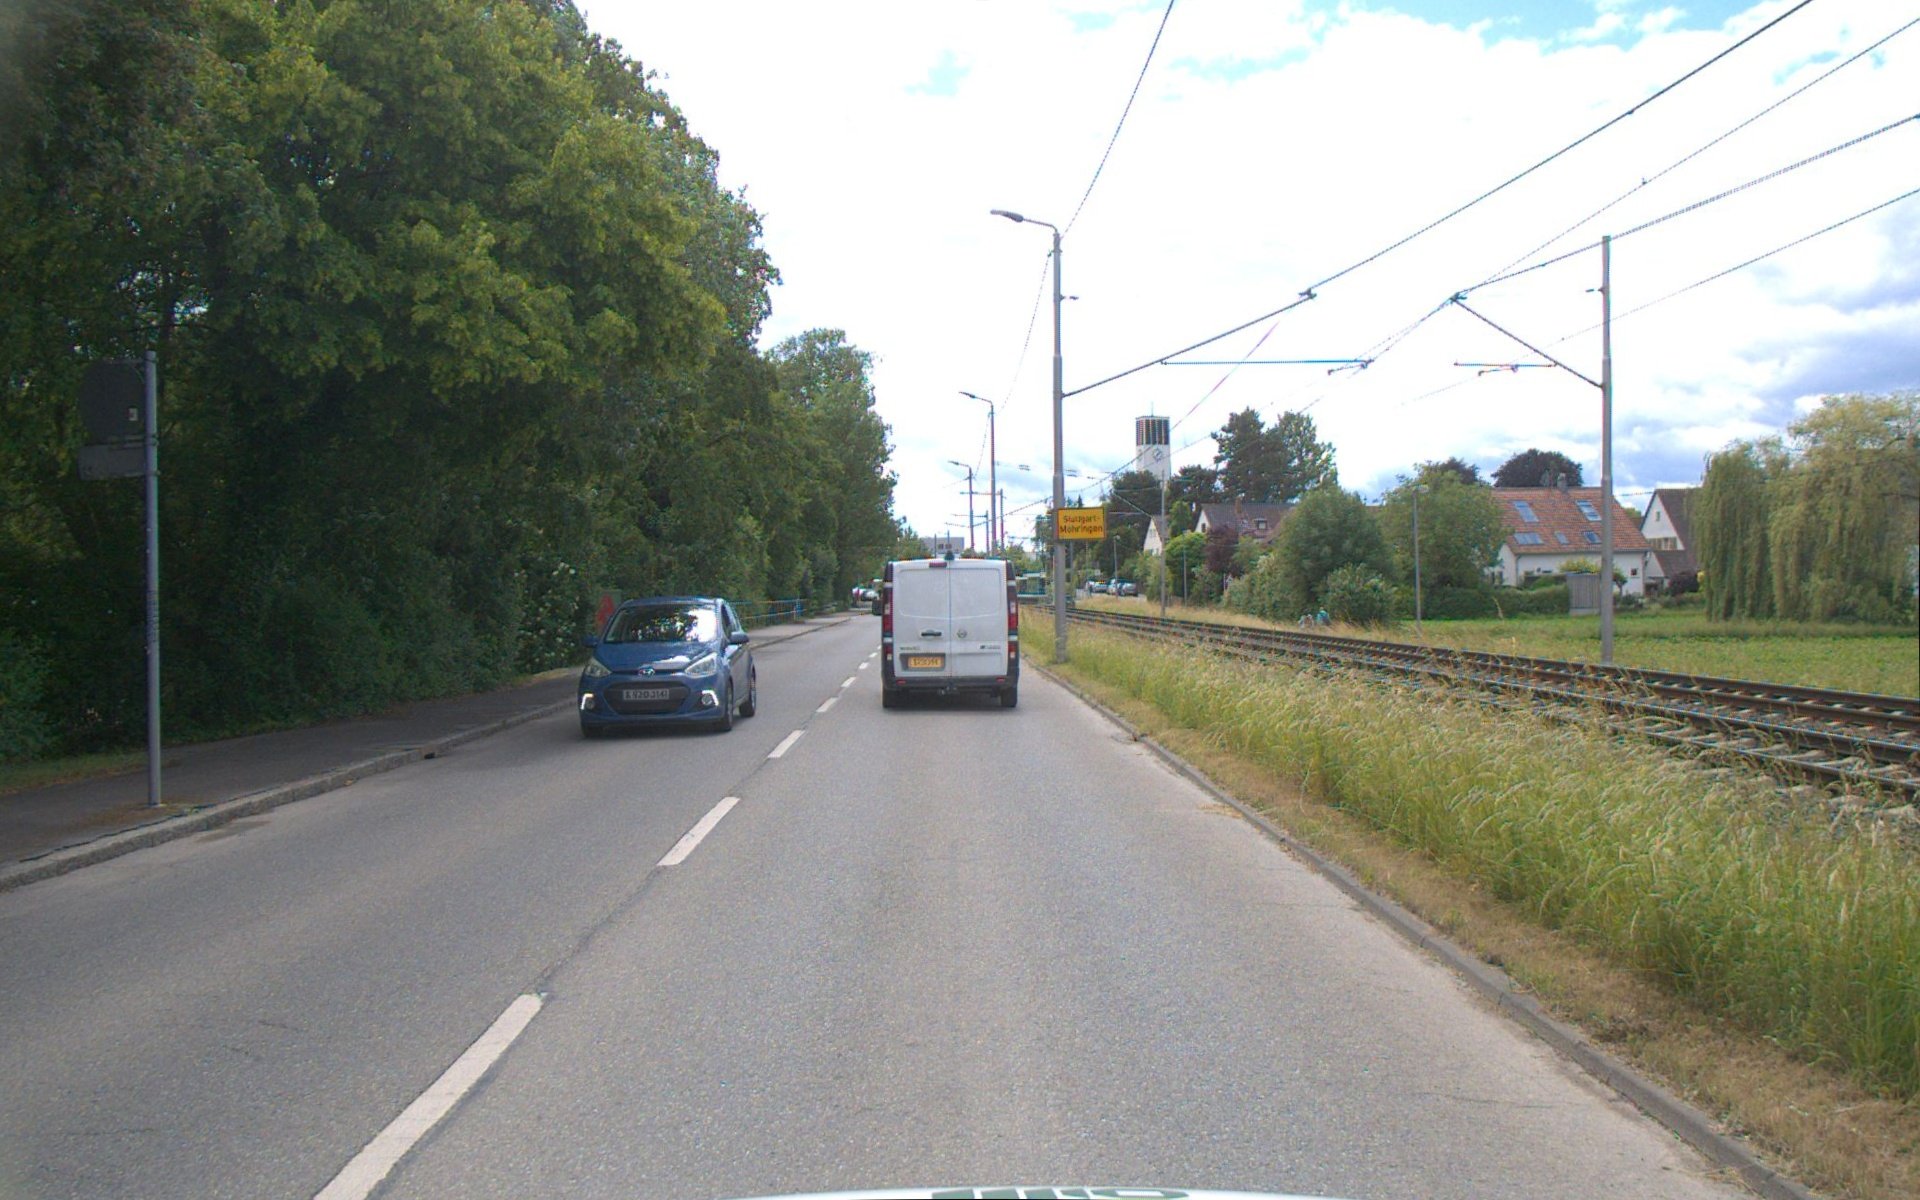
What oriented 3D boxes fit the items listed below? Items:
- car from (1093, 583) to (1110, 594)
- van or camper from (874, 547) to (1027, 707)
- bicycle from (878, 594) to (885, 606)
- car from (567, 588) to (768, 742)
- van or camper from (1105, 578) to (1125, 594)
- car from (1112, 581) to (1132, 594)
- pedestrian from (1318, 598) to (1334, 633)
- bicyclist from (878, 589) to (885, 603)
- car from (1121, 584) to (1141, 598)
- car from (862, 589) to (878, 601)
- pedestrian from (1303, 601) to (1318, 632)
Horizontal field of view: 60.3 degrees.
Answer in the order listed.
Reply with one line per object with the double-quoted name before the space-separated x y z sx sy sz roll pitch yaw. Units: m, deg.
"car" 19.054 -1.544 222.835 1.845 1.548 4.000 -1 0 0
"van or camper" -0.144 0.348 23.449 1.953 2.049 4.445 0 0 -1
"bicycle" -9.164 -0.007 193.901 0.740 1.248 2.308 -3 0 -1
"car" -3.328 0.691 19.504 1.672 1.555 3.824 -3 0 -1
"van or camper" 18.831 -1.704 201.125 1.866 1.857 5.047 -1 0 0
"car" 19.224 -1.512 196.410 1.845 1.548 4.000 -1 0 0
"pedestrian" 17.364 0.721 78.450 0.604 1.650 0.584 1 0 -1
"bicyclist" -9.183 -0.452 193.951 0.762 1.576 0.869 -1 0 -2
"car" 19.689 -0.996 190.292 1.845 1.548 4.000 -1 0 0
"car" -11.522 -0.646 211.913 1.704 1.531 4.470 -3 1 -7
"pedestrian" 16.636 0.766 78.532 0.585 1.455 0.666 1 0 0
